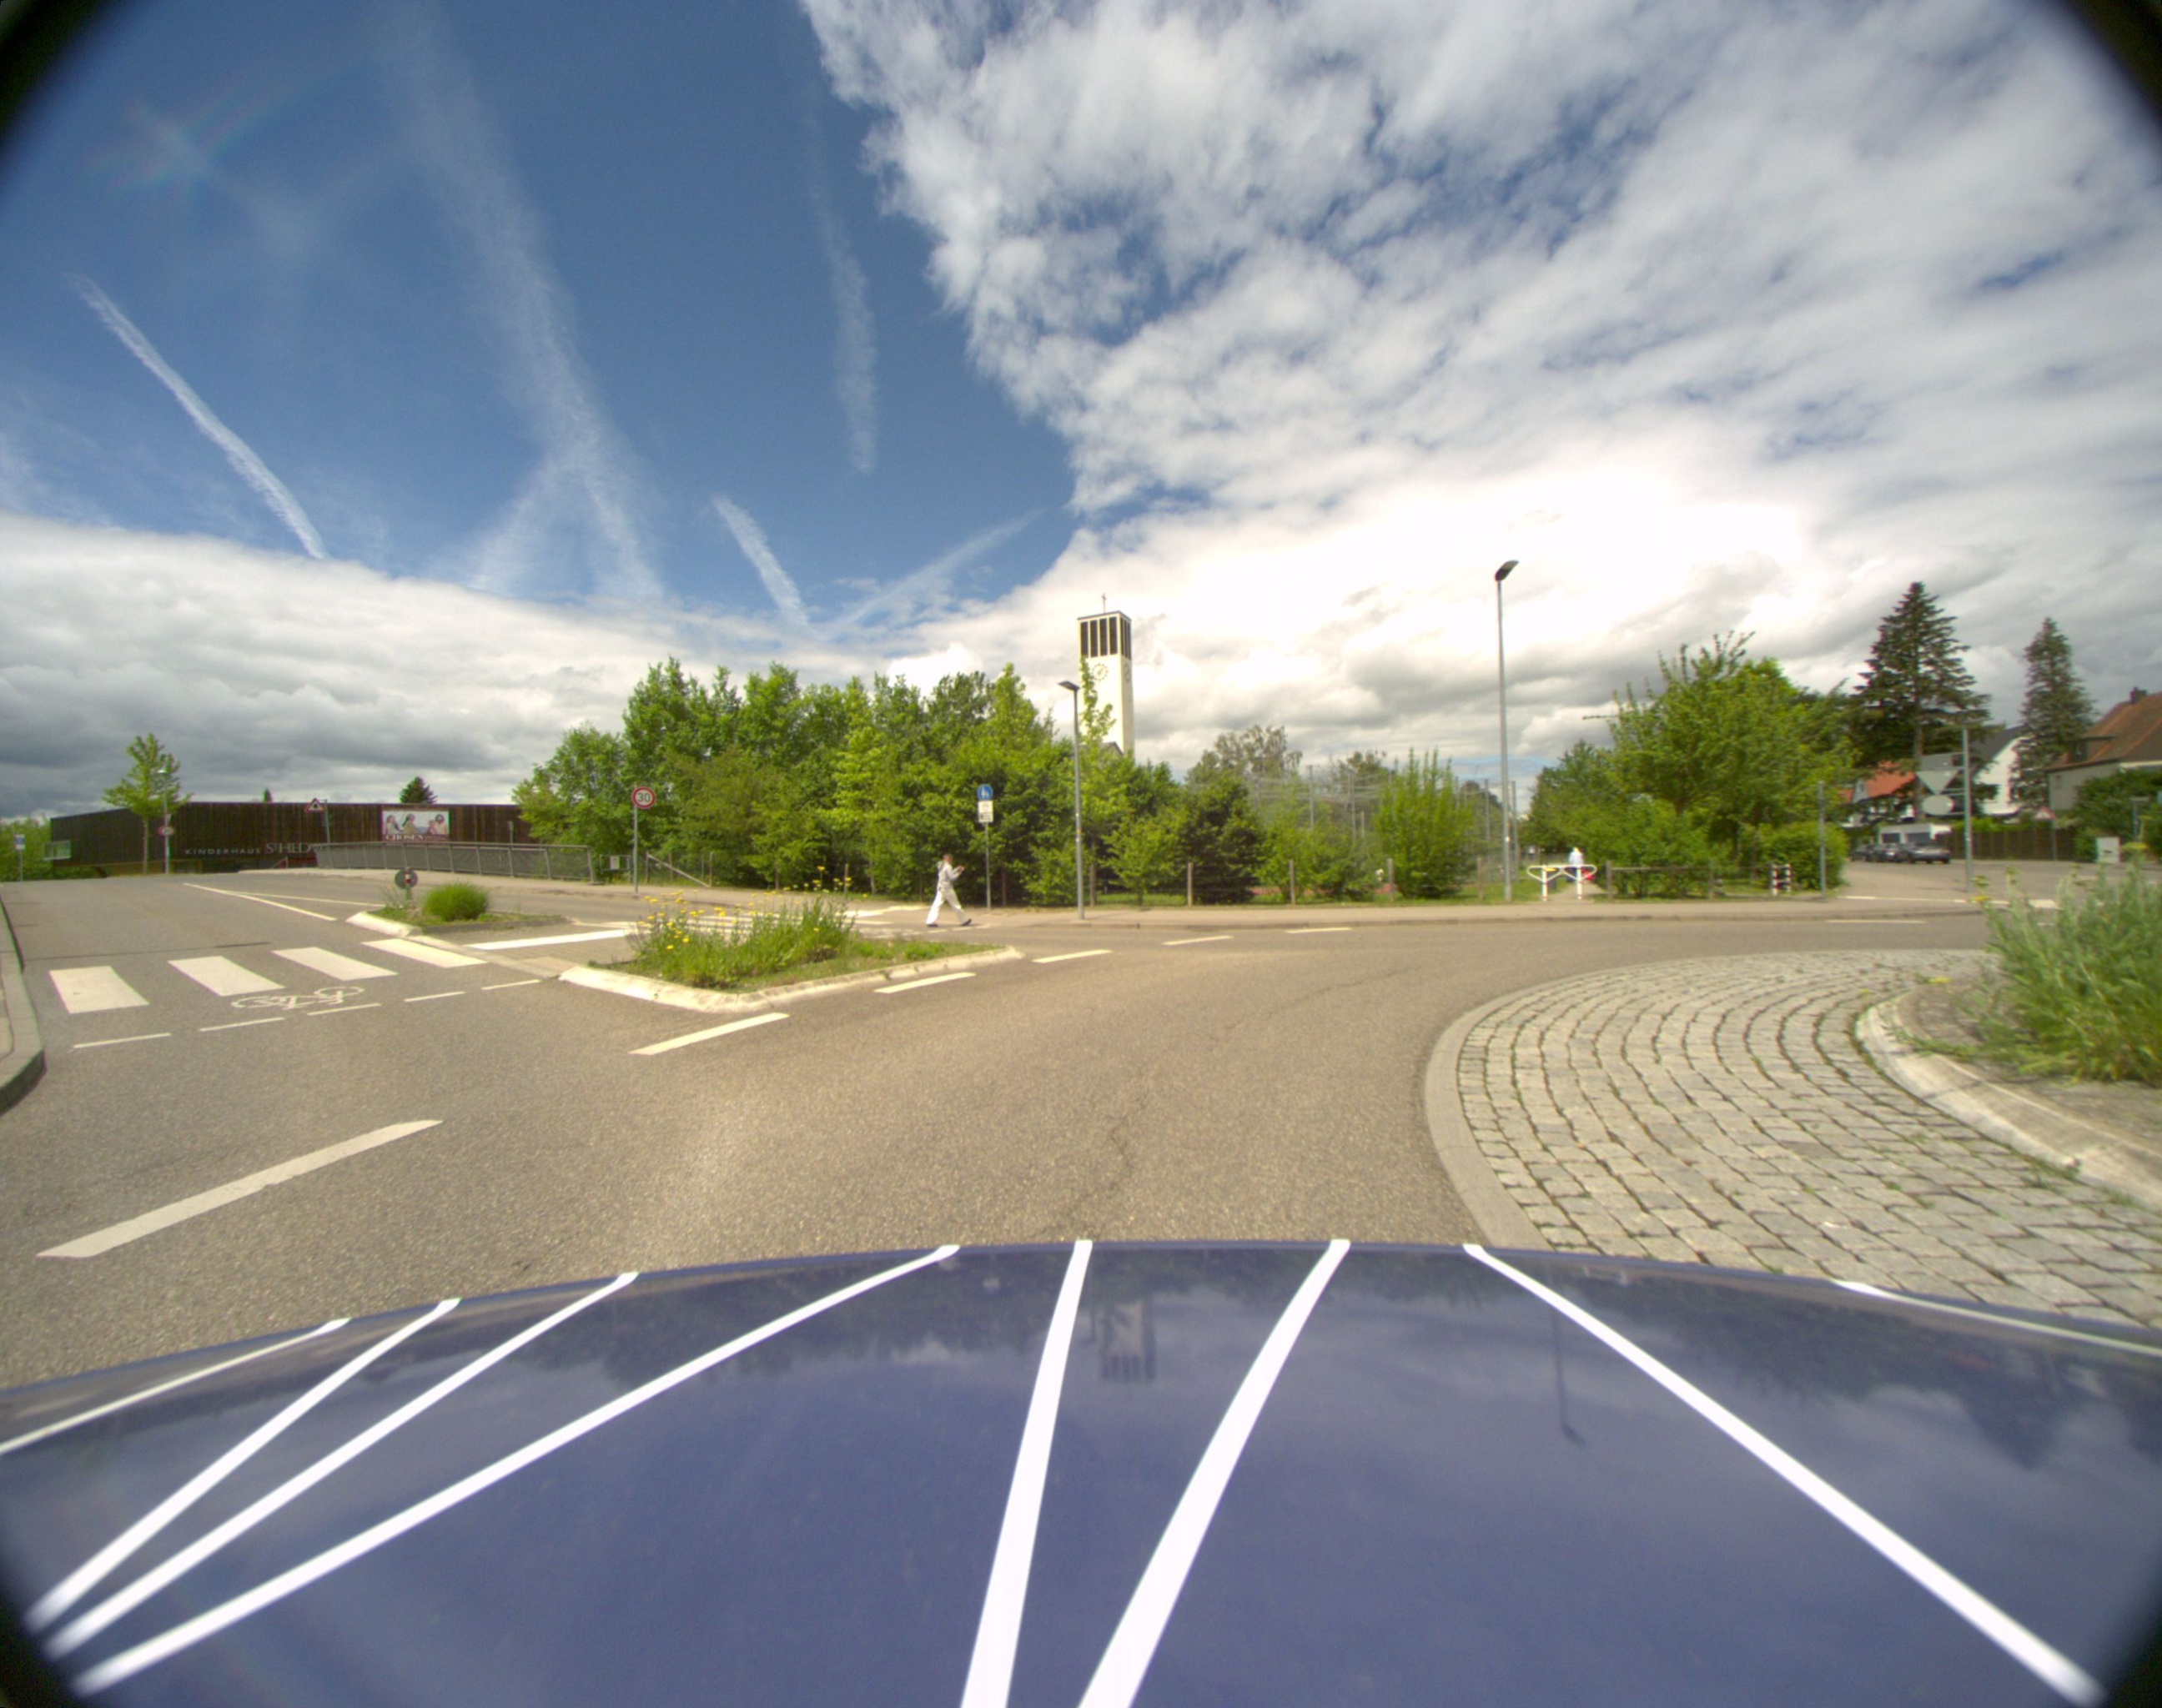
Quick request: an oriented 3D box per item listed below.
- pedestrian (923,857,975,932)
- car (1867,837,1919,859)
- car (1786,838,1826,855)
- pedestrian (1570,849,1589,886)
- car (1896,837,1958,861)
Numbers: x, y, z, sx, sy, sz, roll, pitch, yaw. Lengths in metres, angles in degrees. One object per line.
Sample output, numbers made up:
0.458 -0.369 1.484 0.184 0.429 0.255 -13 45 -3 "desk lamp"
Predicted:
-2.789 0.833 16.086 0.457 1.524 0.965 -2 0 40 "pedestrian"
61.177 -0.481 57.321 1.783 1.568 4.007 -2 0 33 "car"
75.093 -0.765 78.746 1.995 1.696 4.007 0 1 28 "car"
23.290 0.638 35.521 0.606 1.687 0.568 -2 1 24 "pedestrian"
58.344 -0.362 52.449 1.859 1.568 4.007 -2 0 33 "car"
